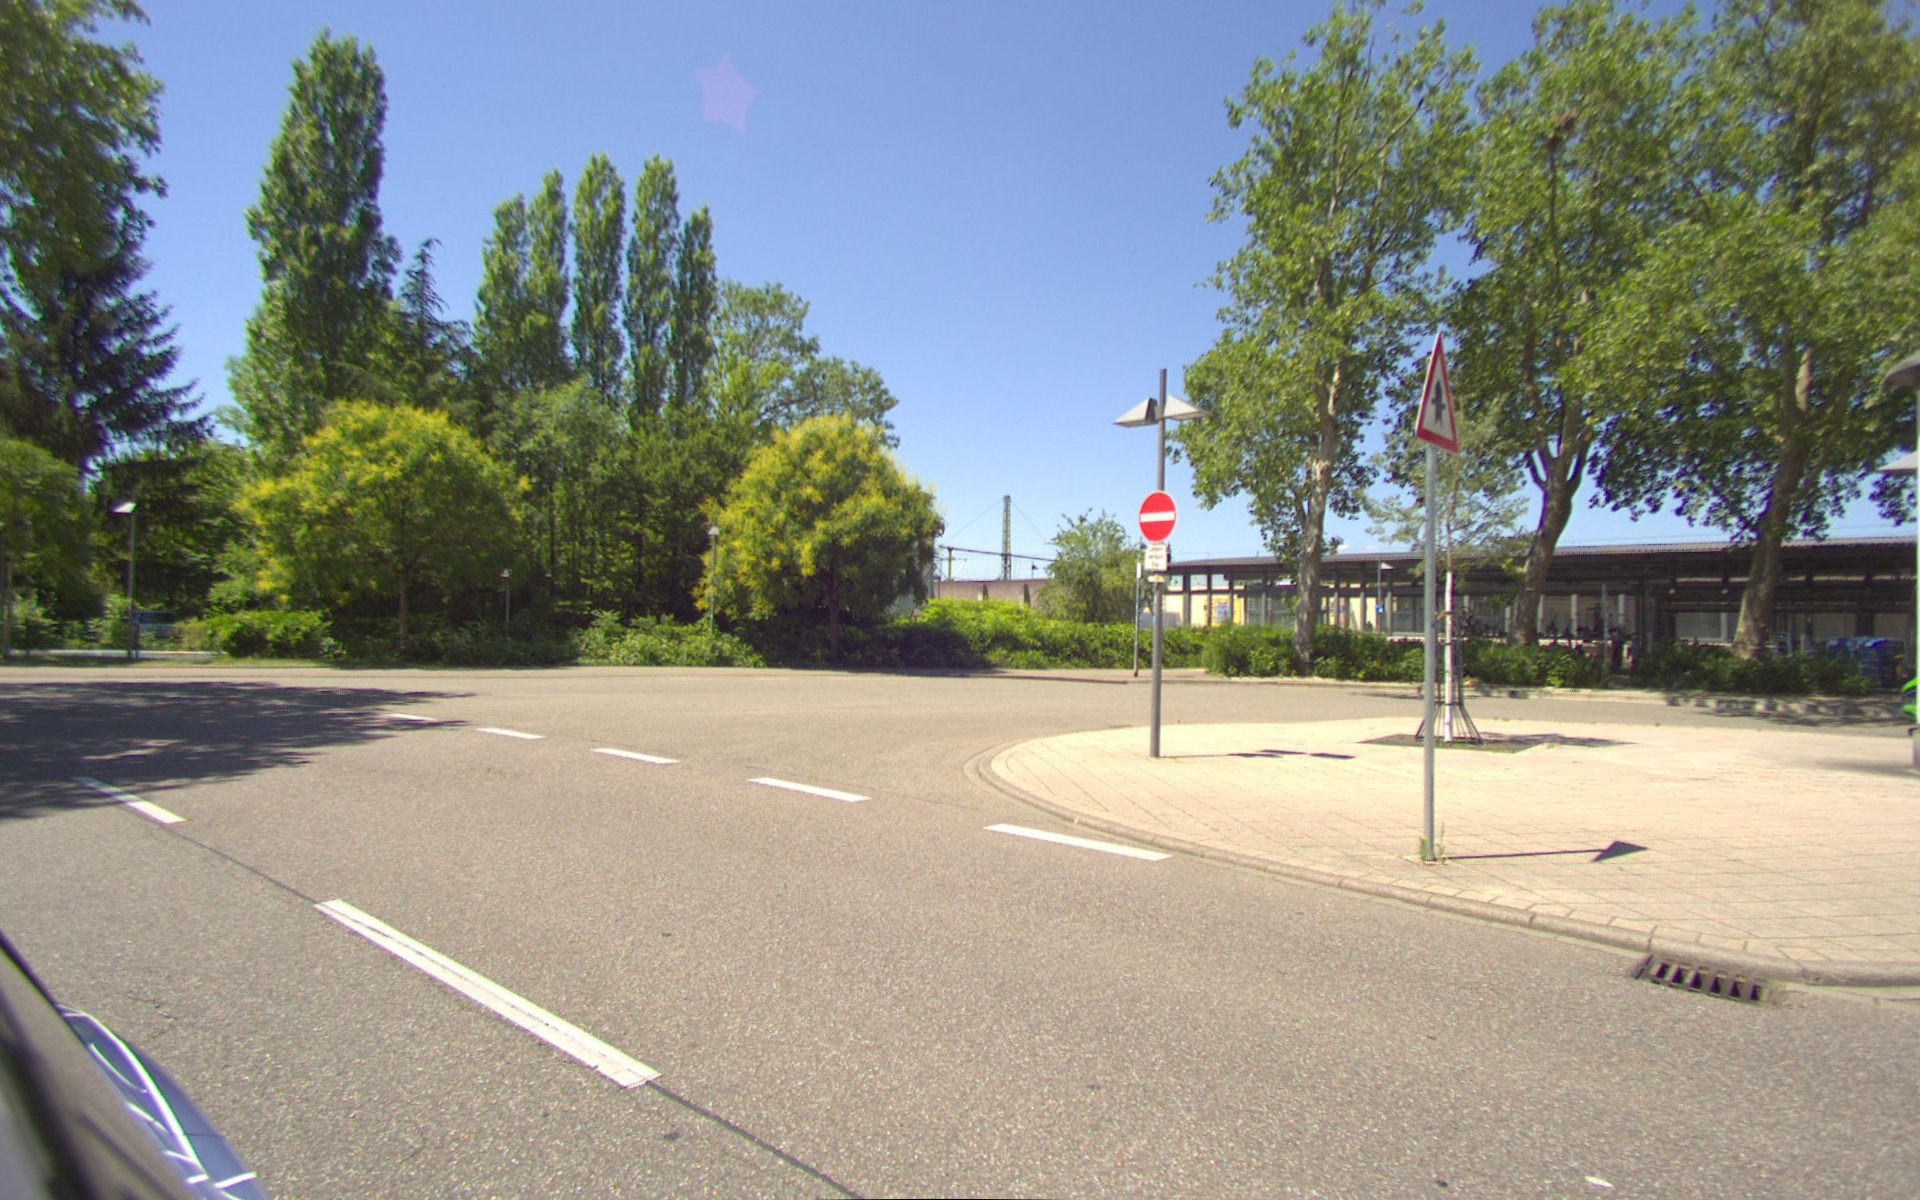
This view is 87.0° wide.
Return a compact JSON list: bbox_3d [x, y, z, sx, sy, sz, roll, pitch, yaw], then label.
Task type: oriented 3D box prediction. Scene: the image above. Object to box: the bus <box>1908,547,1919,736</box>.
[{"bbox_3d":[23.069,0.739,15.654,12.225,3.553,2.138,-1,-2,44],"label":"bus"}]
